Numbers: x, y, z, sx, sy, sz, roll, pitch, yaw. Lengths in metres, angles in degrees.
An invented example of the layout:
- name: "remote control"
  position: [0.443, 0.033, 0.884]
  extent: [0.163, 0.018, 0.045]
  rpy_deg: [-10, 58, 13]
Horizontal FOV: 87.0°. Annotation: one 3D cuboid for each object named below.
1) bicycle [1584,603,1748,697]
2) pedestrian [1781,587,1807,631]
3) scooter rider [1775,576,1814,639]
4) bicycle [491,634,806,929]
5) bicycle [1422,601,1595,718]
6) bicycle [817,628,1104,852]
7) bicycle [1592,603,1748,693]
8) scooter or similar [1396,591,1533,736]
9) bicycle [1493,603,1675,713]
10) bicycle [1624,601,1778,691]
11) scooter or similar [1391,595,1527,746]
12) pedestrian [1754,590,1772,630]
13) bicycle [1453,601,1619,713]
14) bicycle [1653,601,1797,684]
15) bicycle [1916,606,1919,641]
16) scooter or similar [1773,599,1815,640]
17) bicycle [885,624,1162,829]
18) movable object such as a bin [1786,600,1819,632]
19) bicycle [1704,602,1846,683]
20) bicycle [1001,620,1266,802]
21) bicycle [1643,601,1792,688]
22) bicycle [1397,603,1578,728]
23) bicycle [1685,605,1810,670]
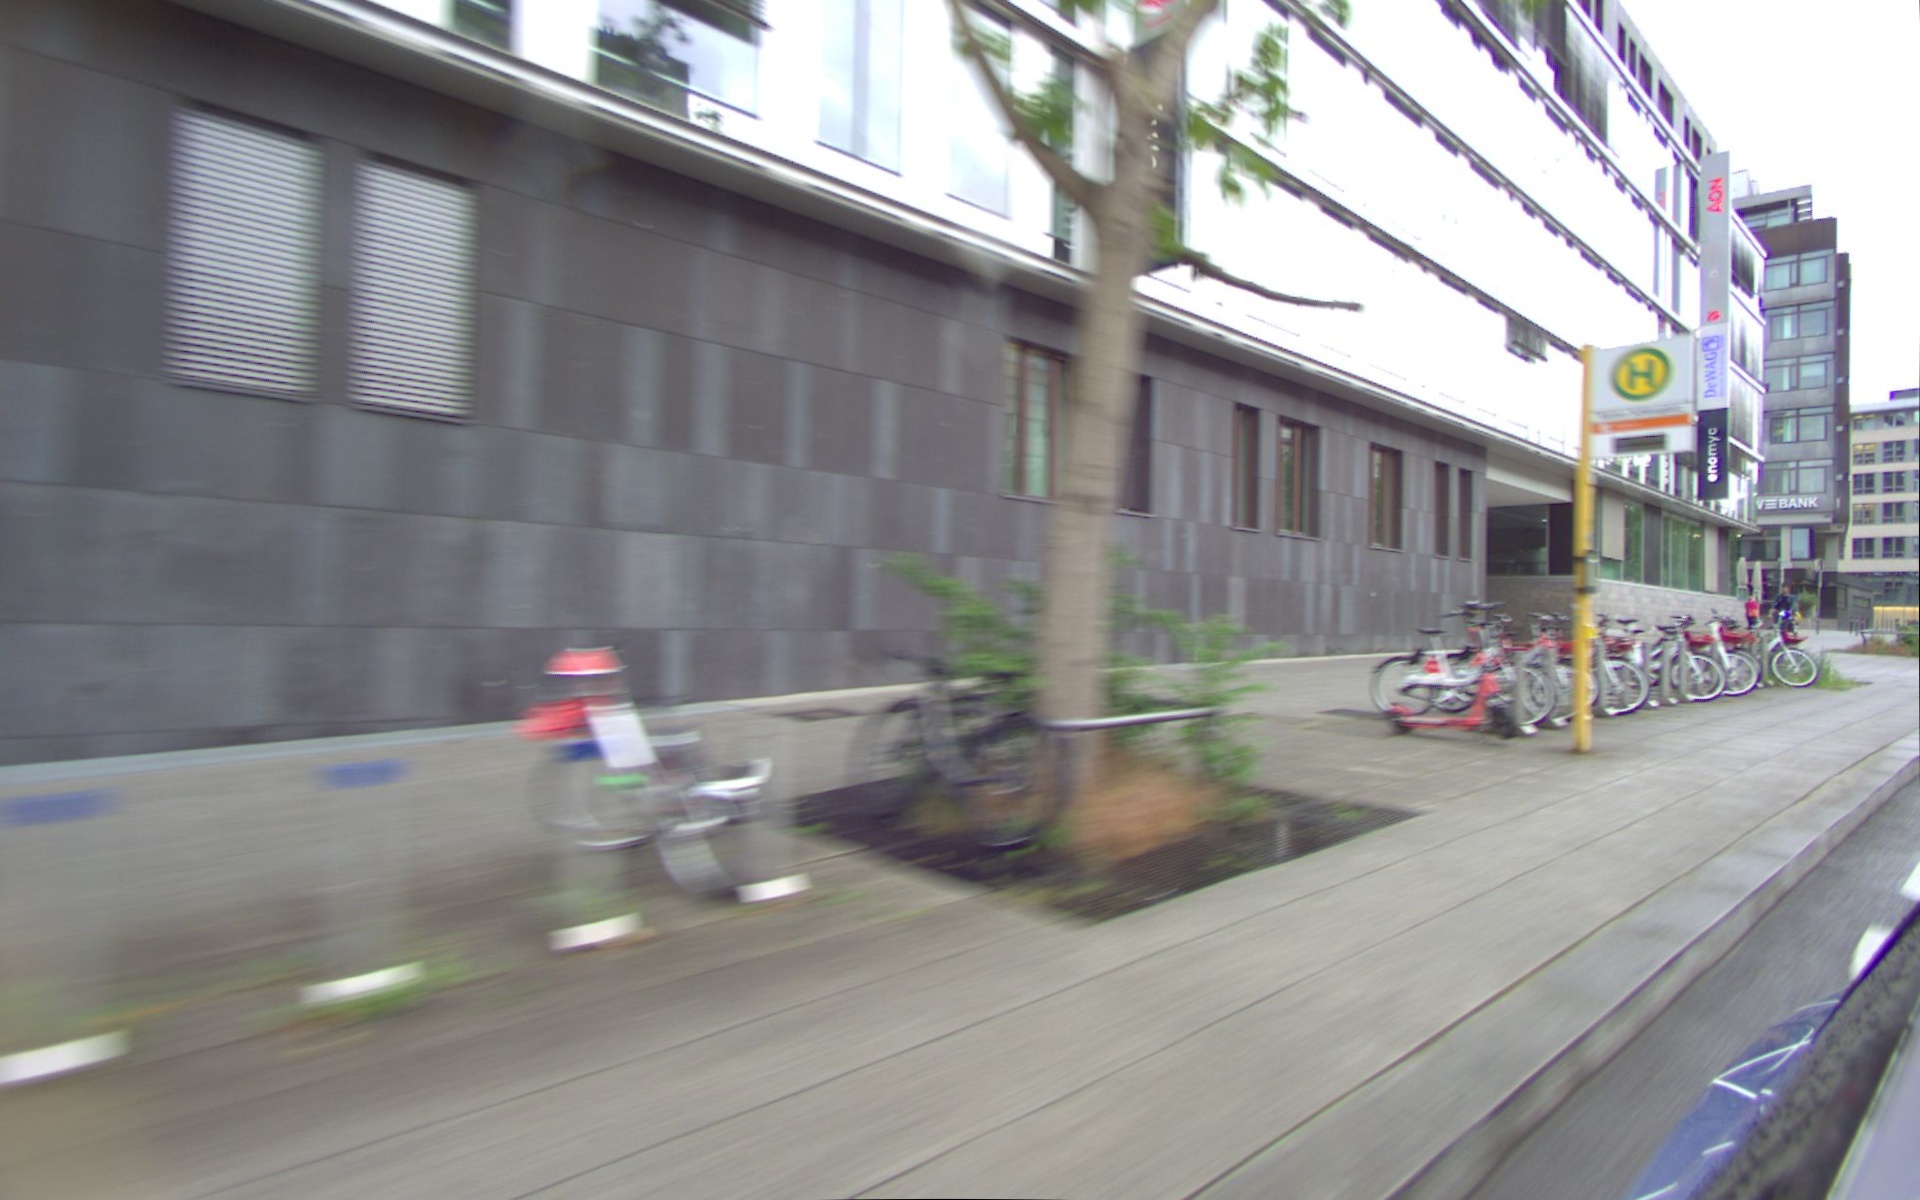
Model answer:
- name: "bicycle"
  position: [9.552, 0.642, 13.738]
  extent: [1.730, 1.154, 0.678]
  rpy_deg: [2, 1, 44]
- name: "pedestrian"
  position: [35.706, 0.373, 43.320]
  extent: [0.734, 1.853, 0.722]
  rpy_deg: [1, 1, -43]
- name: "scooter rider"
  position: [27.458, 0.241, 33.305]
  extent: [0.907, 2.046, 0.780]
  rpy_deg: [1, 0, -37]
- name: "bicycle"
  position: [-1.557, 0.744, 4.862]
  extent: [1.794, 1.122, 0.659]
  rpy_deg: [-1, 0, 44]
- name: "bicycle"
  position: [5.921, 0.598, 10.972]
  extent: [1.534, 1.154, 0.678]
  rpy_deg: [1, 1, 44]
- name: "bicycle"
  position: [-0.059, 0.716, 5.860]
  extent: [0.547, 1.082, 1.795]
  rpy_deg: [-1, 0, -45]
- name: "bicycle"
  position: [10.099, 0.649, 14.430]
  extent: [1.730, 1.154, 0.678]
  rpy_deg: [2, 1, 44]
- name: "scooter or similar"
  position: [4.684, 0.558, 9.429]
  extent: [1.105, 1.273, 0.298]
  rpy_deg: [1, 1, 43]
- name: "bicycle"
  position: [7.230, 0.625, 11.778]
  extent: [1.706, 1.154, 0.678]
  rpy_deg: [1, 1, 44]
- name: "bicycle"
  position: [10.794, 0.639, 14.783]
  extent: [1.730, 1.198, 0.678]
  rpy_deg: [2, 1, 44]
- name: "scooter or similar"
  position: [4.480, 0.599, 9.119]
  extent: [1.060, 1.273, 0.298]
  rpy_deg: [0, 1, 43]
- name: "pedestrian"
  position: [34.990, 0.436, 44.089]
  extent: [0.569, 1.720, 0.484]
  rpy_deg: [1, 1, -43]
- name: "bicycle"
  position: [6.507, 0.601, 11.478]
  extent: [1.534, 1.154, 0.678]
  rpy_deg: [1, 1, 44]
- name: "bicycle"
  position: [12.038, 0.640, 15.961]
  extent: [1.730, 1.198, 0.678]
  rpy_deg: [2, 1, 44]
- name: "bicycle"
  position: [34.403, 0.867, 35.100]
  extent: [1.791, 1.222, 0.659]
  rpy_deg: [3, 1, 43]
- name: "scooter or similar"
  position: [27.456, 0.633, 33.309]
  extent: [1.310, 1.322, 0.780]
  rpy_deg: [1, 0, -37]
- name: "bicycle"
  position: [0.335, 0.701, 6.290]
  extent: [0.547, 1.082, 1.795]
  rpy_deg: [-1, 0, -45]
- name: "movable object such as a bin"
  position: [35.090, 0.669, 42.156]
  extent: [1.758, 1.281, 0.804]
  rpy_deg: [0, 2, -43]
- name: "bicycle"
  position: [13.180, 0.657, 16.402]
  extent: [1.730, 1.198, 0.678]
  rpy_deg: [2, 1, 44]
- name: "bicycle"
  position: [1.133, 0.685, 6.953]
  extent: [0.547, 1.082, 1.795]
  rpy_deg: [-1, 0, -45]
- name: "bicycle"
  position: [11.471, 0.641, 15.363]
  extent: [1.730, 1.198, 0.678]
  rpy_deg: [2, 1, 44]
- name: "bicycle"
  position: [5.379, 0.628, 10.374]
  extent: [1.534, 1.154, 0.652]
  rpy_deg: [1, 1, 44]
- name: "bicycle"
  position: [14.264, 0.651, 18.359]
  extent: [1.730, 1.083, 0.678]
  rpy_deg: [2, 1, 44]
